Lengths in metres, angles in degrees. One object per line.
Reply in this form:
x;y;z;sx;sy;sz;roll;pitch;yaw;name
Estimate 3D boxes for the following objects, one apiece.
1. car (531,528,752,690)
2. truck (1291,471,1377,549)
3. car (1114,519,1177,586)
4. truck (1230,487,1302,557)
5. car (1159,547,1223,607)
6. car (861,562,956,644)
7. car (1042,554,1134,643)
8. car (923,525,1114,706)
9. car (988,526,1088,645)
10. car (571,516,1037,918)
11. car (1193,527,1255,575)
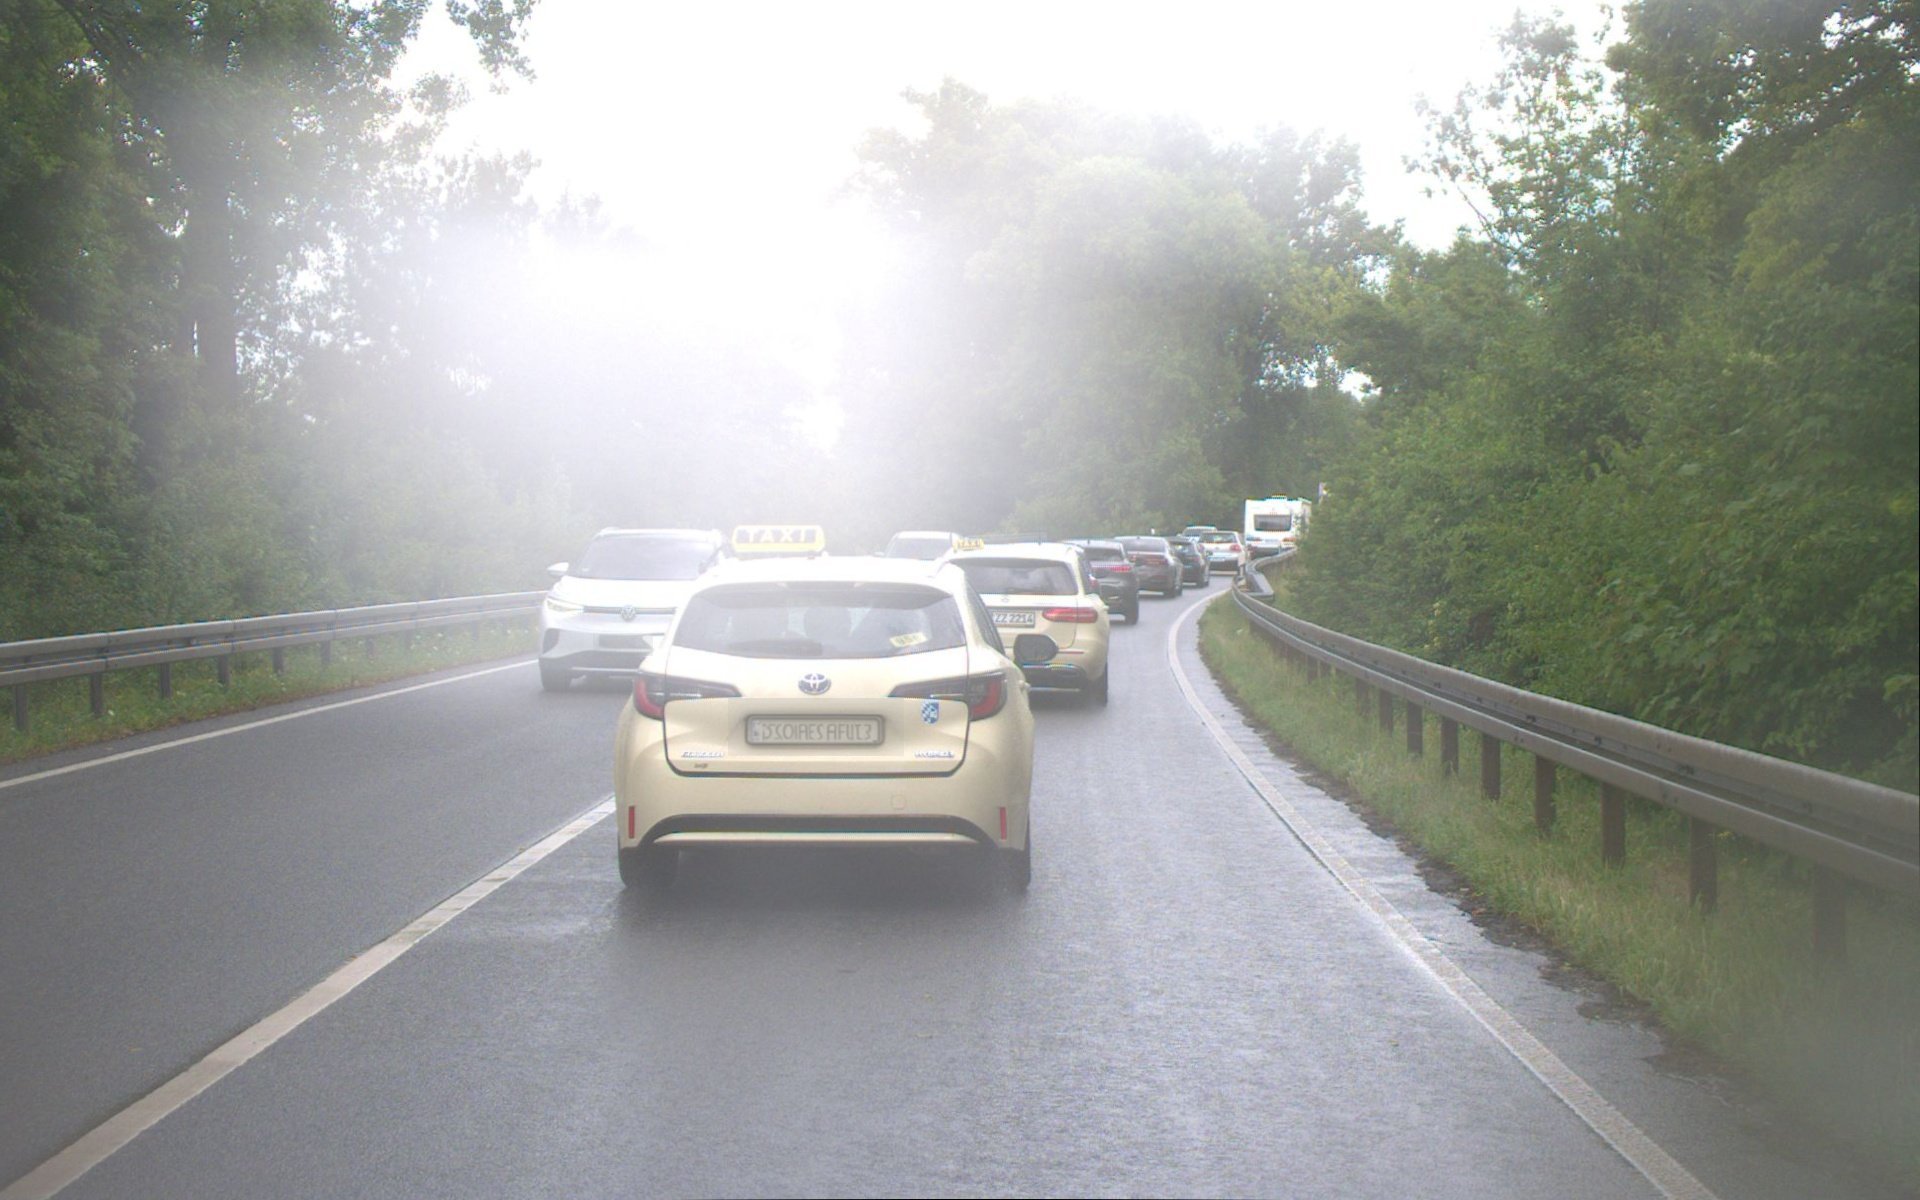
-3.158;0.047;34.817;1.807;1.527;4.206;0;1;0;car
18.599;-4.449;170.615;3.109;3.668;6.995;1;0;15;truck
4.415;-1.111;81.693;1.167;1.541;2.603;1;0;10;car
12.536;-3.169;141.250;2.550;2.704;7.534;1;0;2;truck
6.443;-0.627;95.557;1.616;1.607;3.621;1;0;6;car
-1.026;0.035;70.778;1.692;1.568;4.374;1;1;2;car
2.313;-0.009;62.123;1.611;1.541;3.813;0;-1;2;car
0.585;0.130;32.259;1.667;1.575;3.892;1;0;2;car
1.061;-0.194;46.713;1.300;1.541;3.260;1;0;1;car
-0.575;0.455;15.739;1.834;1.575;4.156;1;0;1;car
8.835;-1.637;114.800;1.770;1.541;3.812;1;0;9;car
